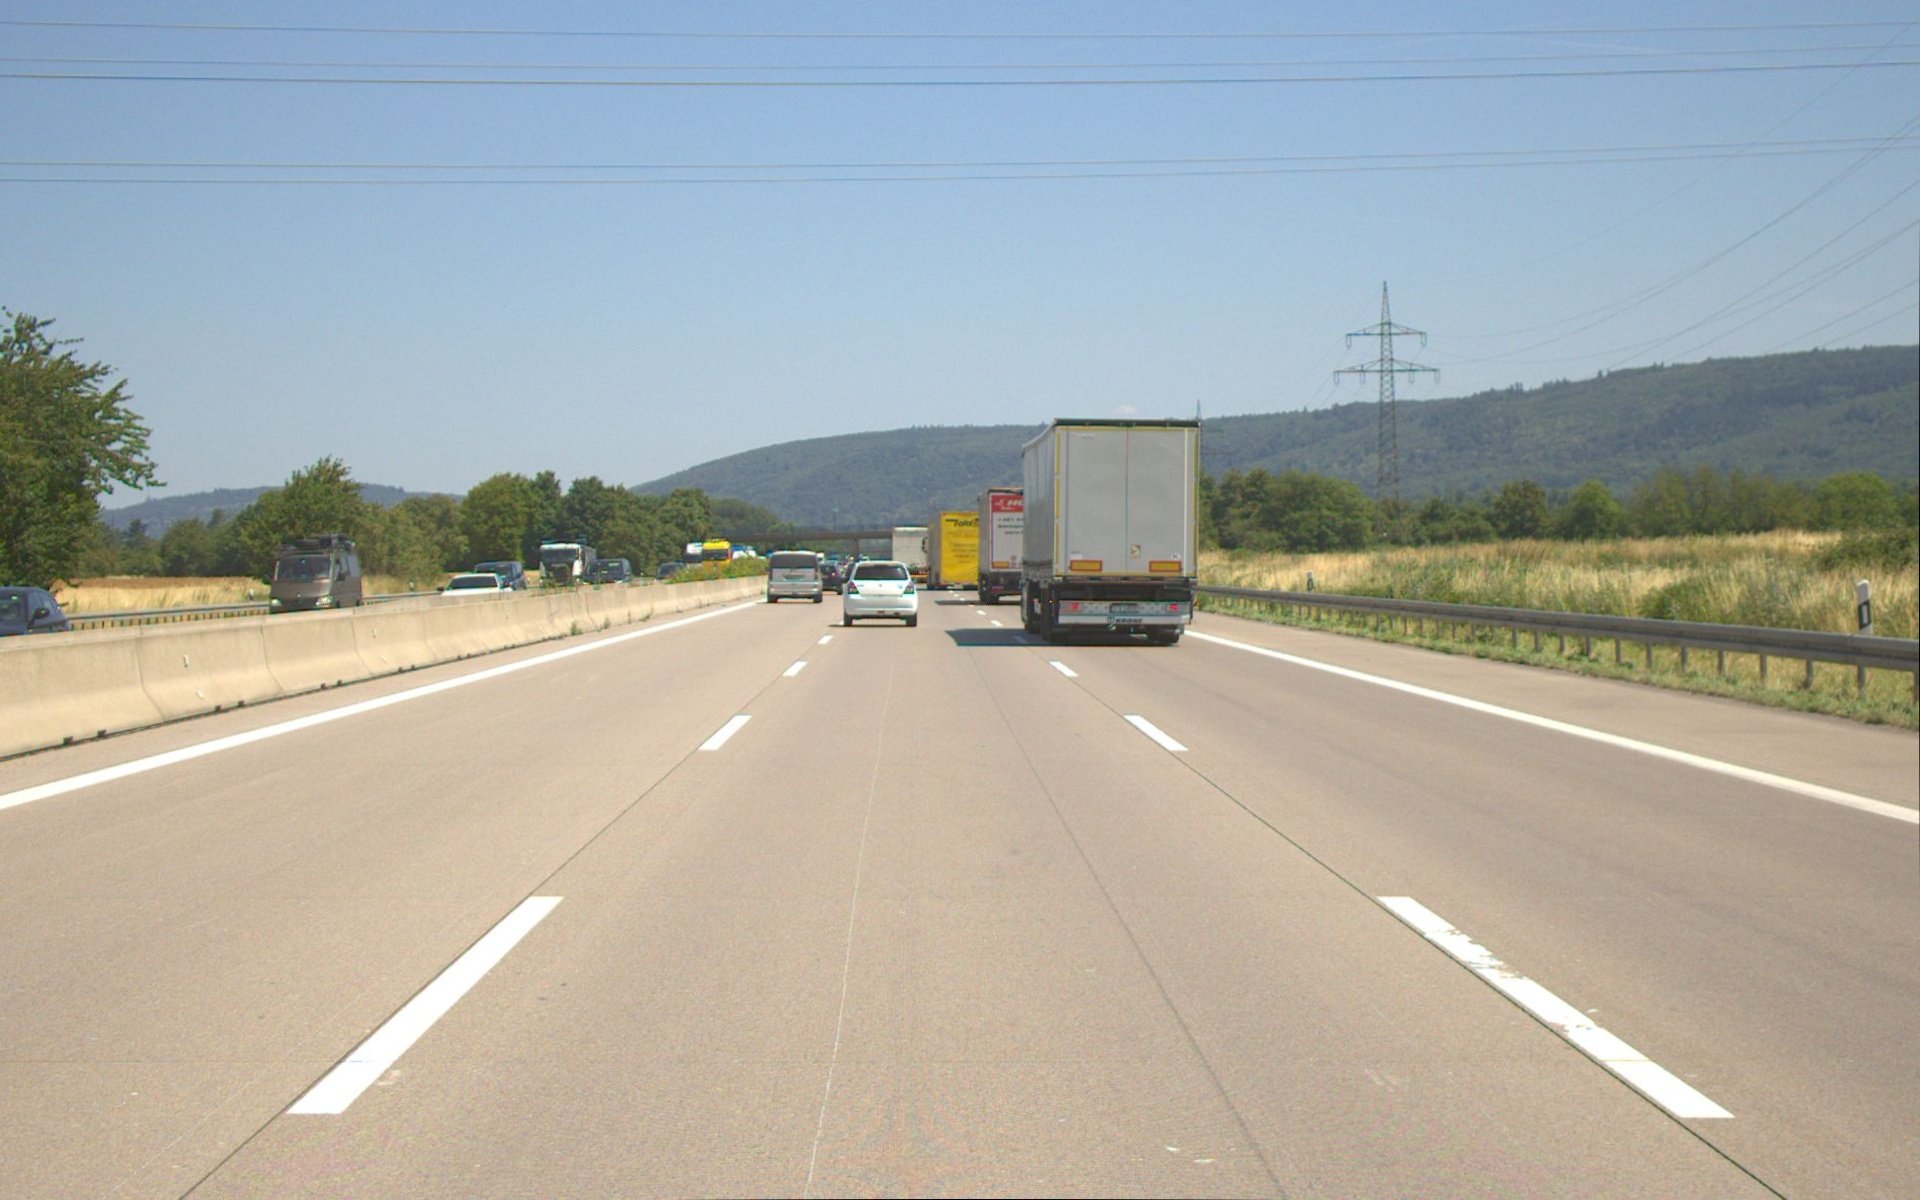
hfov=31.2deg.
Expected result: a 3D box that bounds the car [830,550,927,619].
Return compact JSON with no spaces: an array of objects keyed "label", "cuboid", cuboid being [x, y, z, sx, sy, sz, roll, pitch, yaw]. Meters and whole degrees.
[{"label":"car","cuboid":[-1.858,-0.386,80.069,2.107,1.530,4.122,1,1,1]}]

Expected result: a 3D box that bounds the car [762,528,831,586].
[{"label":"car","cuboid":[-5.904,-1.558,124.614,2.254,2.007,4.298,1,1,0]}]

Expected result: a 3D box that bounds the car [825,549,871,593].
[{"label":"car","cuboid":[-5.070,-1.348,156.325,1.993,1.950,4.000,1,1,-1]}]

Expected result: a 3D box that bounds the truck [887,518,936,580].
[{"label":"truck","cuboid":[-3.425,-3.582,241.971,3.353,4.257,8.229,1,1,-1]}]

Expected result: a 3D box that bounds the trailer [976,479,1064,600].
[{"label":"trailer","cuboid":[2.087,-2.166,124.252,2.874,4.086,13.513,1,1,0]}]

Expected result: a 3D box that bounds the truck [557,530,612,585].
[{"label":"truck","cuboid":[-22.861,-2.591,209.233,2.806,3.293,5.614,1,1,-1]}]

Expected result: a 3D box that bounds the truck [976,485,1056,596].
[{"label":"truck","cuboid":[2.081,-2.251,130.553,2.905,4.086,6.272,1,1,0]}]

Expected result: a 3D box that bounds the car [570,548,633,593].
[{"label":"car","cuboid":[-14.897,-1.246,143.049,1.993,1.820,5.825,1,1,0]}]

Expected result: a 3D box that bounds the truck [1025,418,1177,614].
[{"label":"truck","cuboid":[2.985,-1.789,74.461,2.984,4.048,5.478,1,1,0]}]

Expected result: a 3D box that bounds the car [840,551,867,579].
[{"label":"car","cuboid":[-7.389,-2.452,238.914,1.783,1.875,4.000,1,1,-1]}]

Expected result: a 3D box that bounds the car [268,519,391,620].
[{"label":"car","cuboid":[-18.110,-0.892,99.122,2.248,2.777,6.792,1,1,0]}]

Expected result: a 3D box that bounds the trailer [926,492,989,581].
[{"label":"trailer","cuboid":[-0.192,-3.398,185.588,3.216,4.548,13.457,1,1,-1]}]

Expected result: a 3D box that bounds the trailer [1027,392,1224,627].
[{"label":"trailer","cuboid":[3.026,-1.676,67.004,3.018,4.047,14.207,1,1,0]}]

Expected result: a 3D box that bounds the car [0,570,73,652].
[{"label":"car","cuboid":[-13.522,0.128,47.635,1.521,1.049,3.523,1,1,1]}]
